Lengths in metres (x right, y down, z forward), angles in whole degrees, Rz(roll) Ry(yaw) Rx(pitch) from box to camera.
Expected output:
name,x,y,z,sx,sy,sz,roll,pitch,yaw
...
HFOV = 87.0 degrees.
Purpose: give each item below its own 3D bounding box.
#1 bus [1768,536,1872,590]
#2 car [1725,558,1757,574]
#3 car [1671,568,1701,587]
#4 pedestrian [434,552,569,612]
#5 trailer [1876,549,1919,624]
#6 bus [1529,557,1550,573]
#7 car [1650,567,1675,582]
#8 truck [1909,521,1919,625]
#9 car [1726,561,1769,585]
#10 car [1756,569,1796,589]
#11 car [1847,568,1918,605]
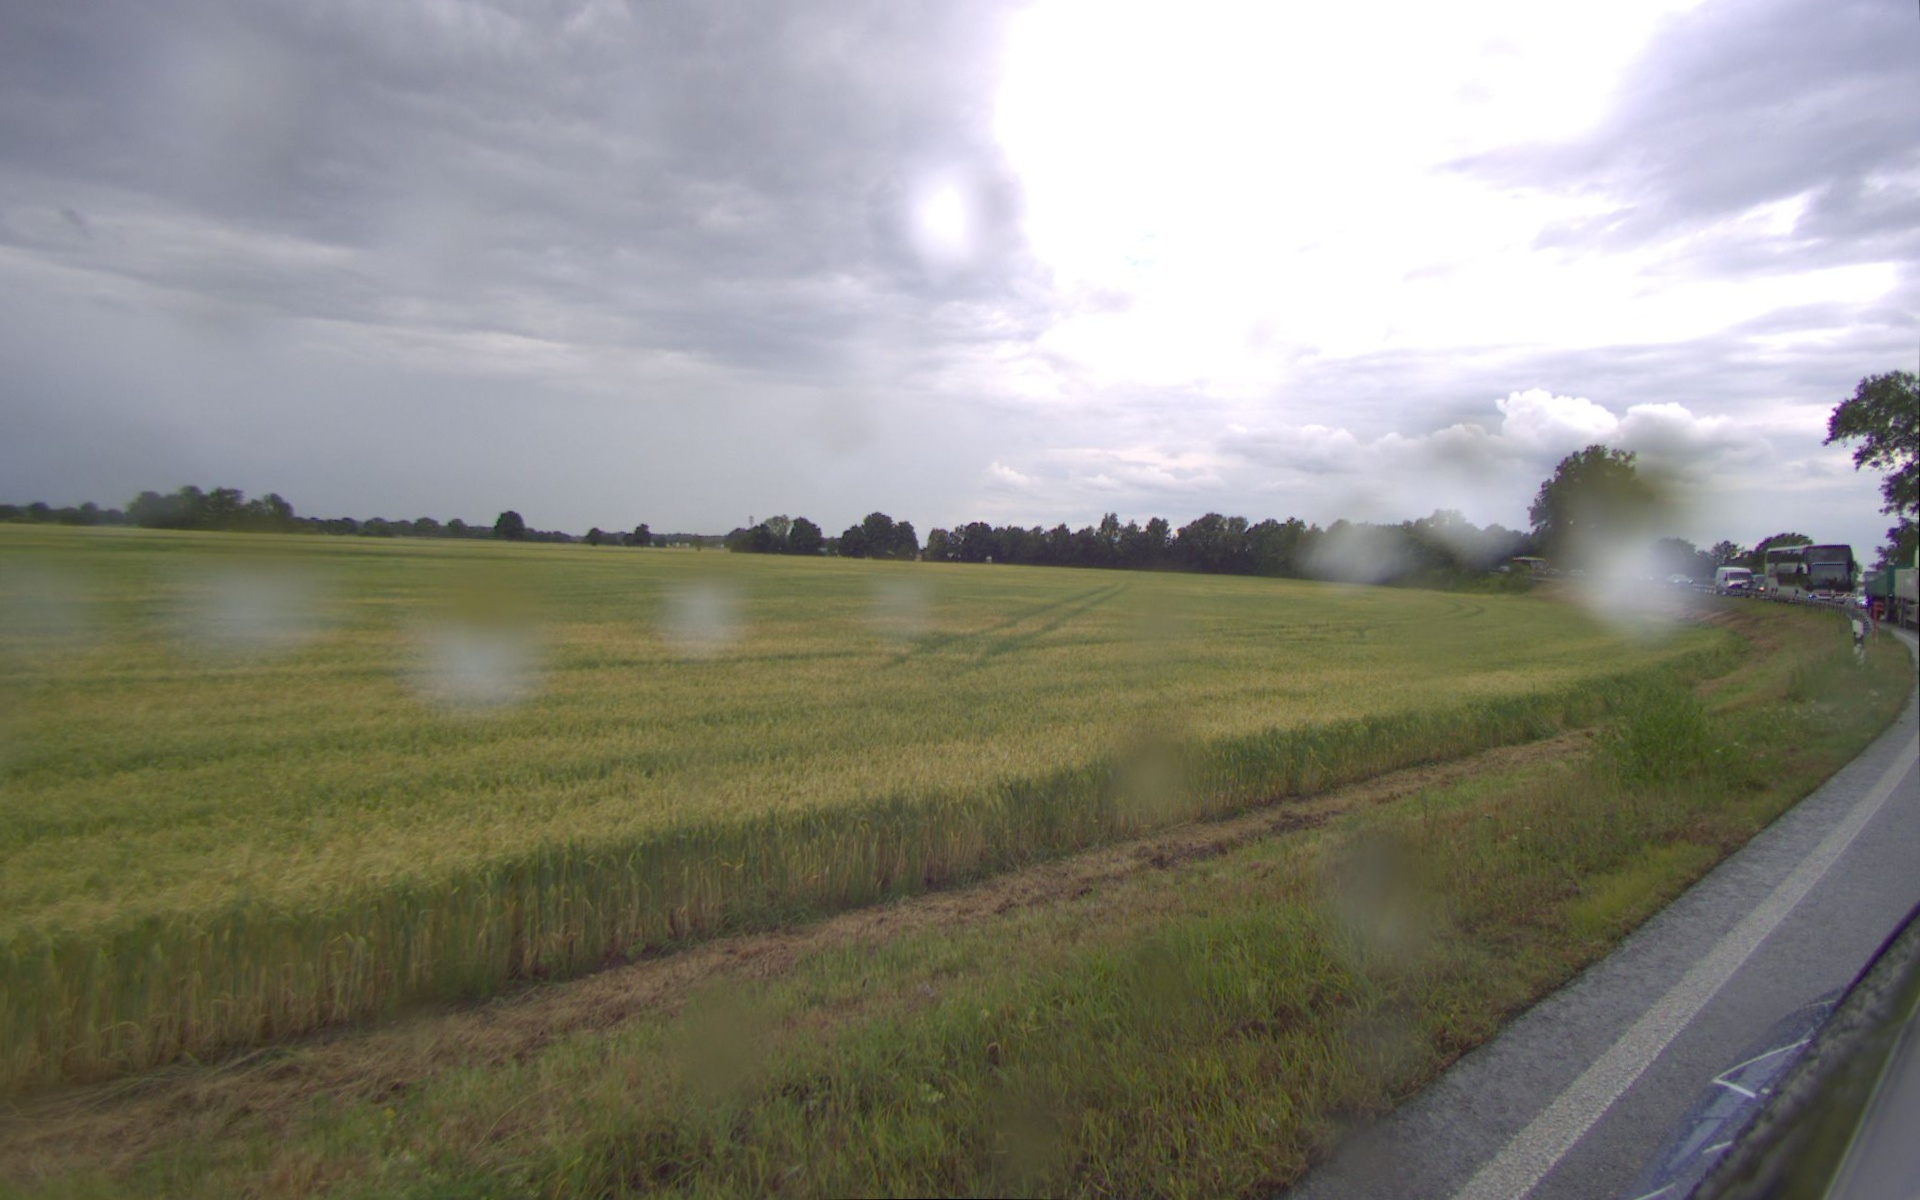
name,x,y,z,sx,sy,sz,roll,pitch,yaw
bus,59.992,-2.670,71.034,2.941,3.353,14.685,-1,2,30
car,99.957,-4.348,129.580,1.974,2.039,4.097,-1,1,18
car,82.841,-2.607,115.575,1.979,2.039,4.197,-1,1,25
pedestrian,-16.427,-0.673,36.423,1.988,2.039,3.949,0,1,36
trailer,40.081,-0.708,41.241,2.970,2.665,15.468,0,2,38
bus,109.175,-6.629,190.759,1.973,2.951,6.971,-1,1,18
car,96.628,-3.526,139.187,1.866,2.039,4.267,-1,1,21
truck,34.875,-0.949,34.621,2.970,3.655,5.997,0,1,38
car,72.077,-2.490,92.751,1.979,2.038,5.290,-1,1,25
car,66.793,-1.722,82.874,1.798,1.597,3.962,-1,1,28
car,49.729,-0.748,54.684,2.029,1.865,5.273,0,1,34
